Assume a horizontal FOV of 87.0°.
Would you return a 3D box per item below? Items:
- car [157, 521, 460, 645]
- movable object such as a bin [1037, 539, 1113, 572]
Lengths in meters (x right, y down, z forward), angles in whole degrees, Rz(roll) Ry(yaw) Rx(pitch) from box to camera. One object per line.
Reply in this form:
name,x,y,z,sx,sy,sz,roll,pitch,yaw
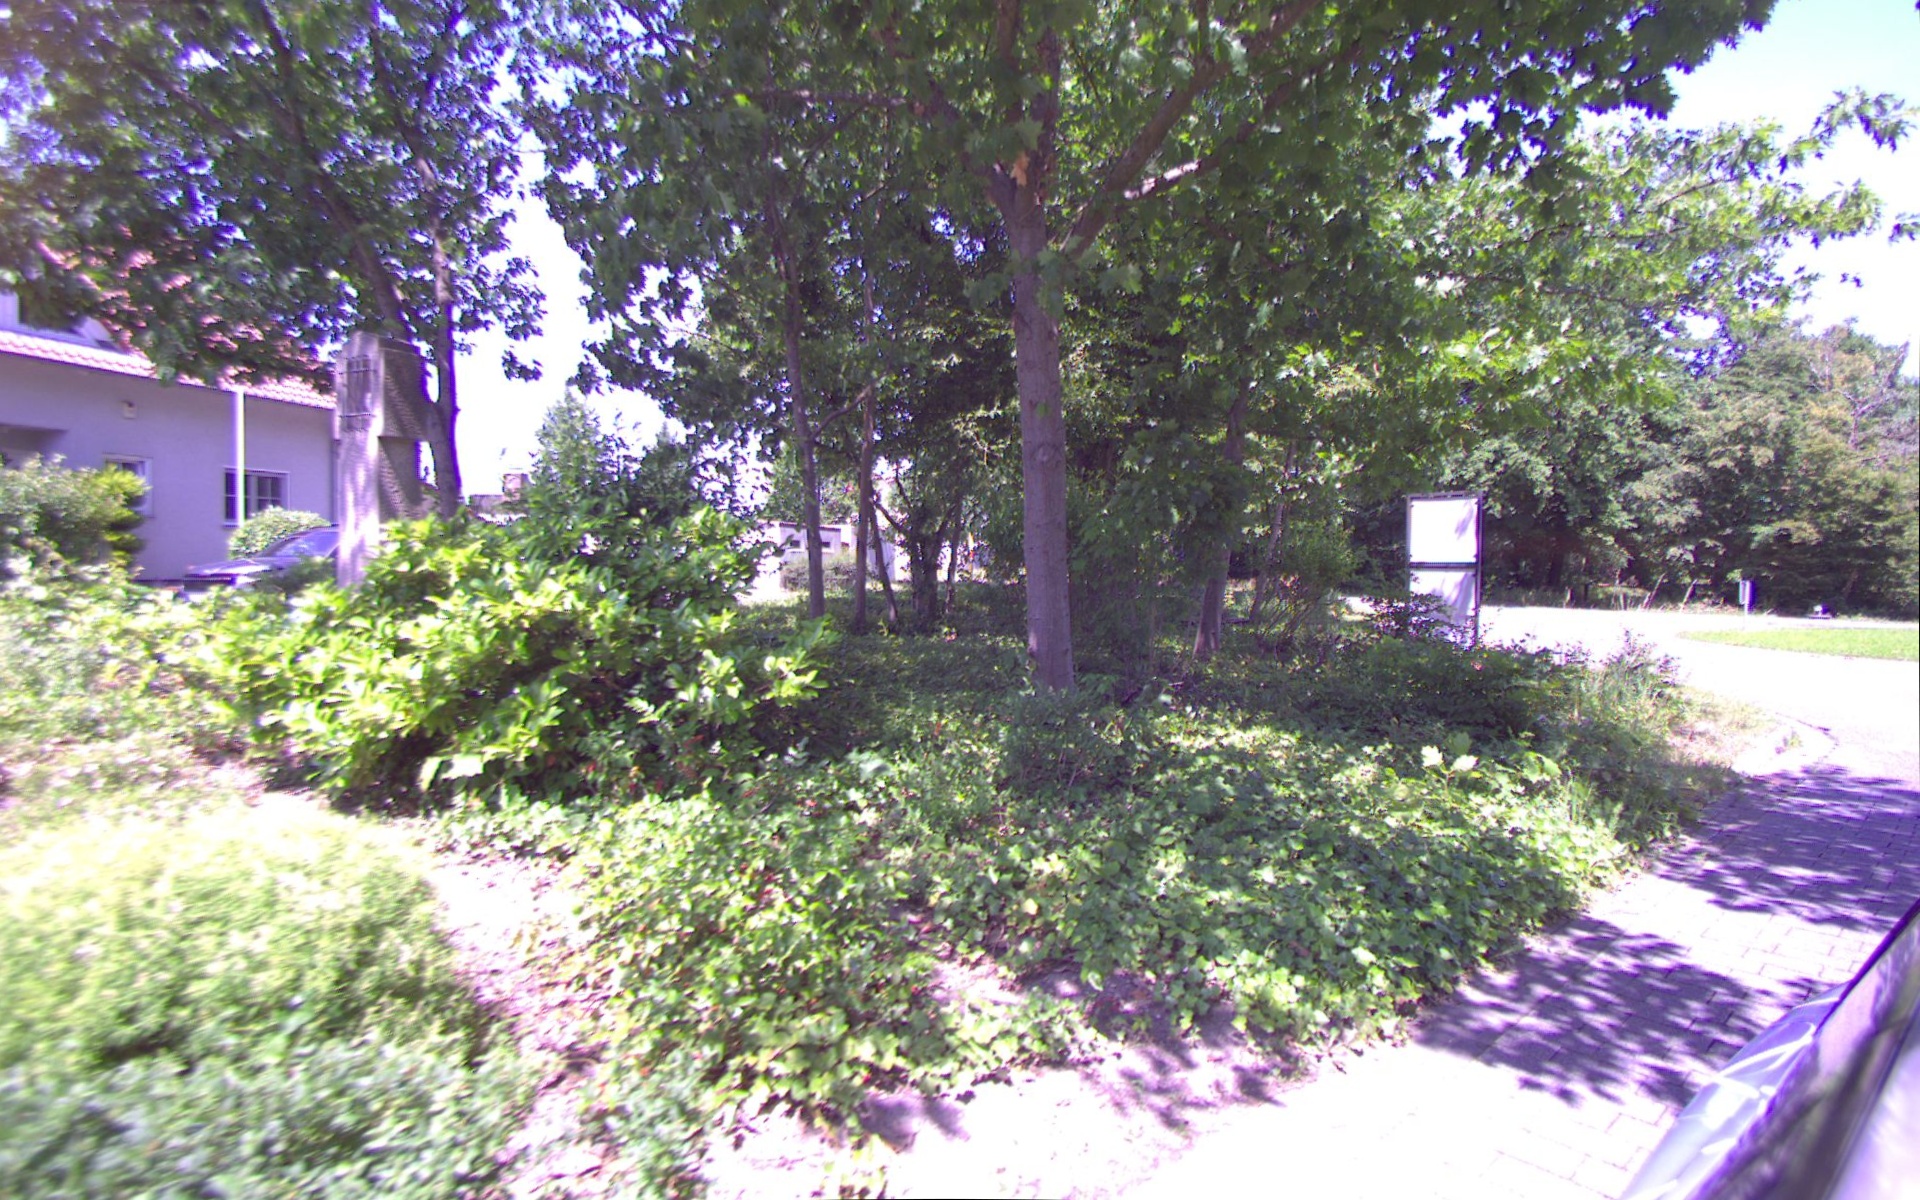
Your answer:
car,-10.166,-0.319,16.222,1.641,1.726,4.128,1,2,13
movable object such as a bin,8.210,-3.222,72.879,2.478,2.304,5.237,-1,3,-38
